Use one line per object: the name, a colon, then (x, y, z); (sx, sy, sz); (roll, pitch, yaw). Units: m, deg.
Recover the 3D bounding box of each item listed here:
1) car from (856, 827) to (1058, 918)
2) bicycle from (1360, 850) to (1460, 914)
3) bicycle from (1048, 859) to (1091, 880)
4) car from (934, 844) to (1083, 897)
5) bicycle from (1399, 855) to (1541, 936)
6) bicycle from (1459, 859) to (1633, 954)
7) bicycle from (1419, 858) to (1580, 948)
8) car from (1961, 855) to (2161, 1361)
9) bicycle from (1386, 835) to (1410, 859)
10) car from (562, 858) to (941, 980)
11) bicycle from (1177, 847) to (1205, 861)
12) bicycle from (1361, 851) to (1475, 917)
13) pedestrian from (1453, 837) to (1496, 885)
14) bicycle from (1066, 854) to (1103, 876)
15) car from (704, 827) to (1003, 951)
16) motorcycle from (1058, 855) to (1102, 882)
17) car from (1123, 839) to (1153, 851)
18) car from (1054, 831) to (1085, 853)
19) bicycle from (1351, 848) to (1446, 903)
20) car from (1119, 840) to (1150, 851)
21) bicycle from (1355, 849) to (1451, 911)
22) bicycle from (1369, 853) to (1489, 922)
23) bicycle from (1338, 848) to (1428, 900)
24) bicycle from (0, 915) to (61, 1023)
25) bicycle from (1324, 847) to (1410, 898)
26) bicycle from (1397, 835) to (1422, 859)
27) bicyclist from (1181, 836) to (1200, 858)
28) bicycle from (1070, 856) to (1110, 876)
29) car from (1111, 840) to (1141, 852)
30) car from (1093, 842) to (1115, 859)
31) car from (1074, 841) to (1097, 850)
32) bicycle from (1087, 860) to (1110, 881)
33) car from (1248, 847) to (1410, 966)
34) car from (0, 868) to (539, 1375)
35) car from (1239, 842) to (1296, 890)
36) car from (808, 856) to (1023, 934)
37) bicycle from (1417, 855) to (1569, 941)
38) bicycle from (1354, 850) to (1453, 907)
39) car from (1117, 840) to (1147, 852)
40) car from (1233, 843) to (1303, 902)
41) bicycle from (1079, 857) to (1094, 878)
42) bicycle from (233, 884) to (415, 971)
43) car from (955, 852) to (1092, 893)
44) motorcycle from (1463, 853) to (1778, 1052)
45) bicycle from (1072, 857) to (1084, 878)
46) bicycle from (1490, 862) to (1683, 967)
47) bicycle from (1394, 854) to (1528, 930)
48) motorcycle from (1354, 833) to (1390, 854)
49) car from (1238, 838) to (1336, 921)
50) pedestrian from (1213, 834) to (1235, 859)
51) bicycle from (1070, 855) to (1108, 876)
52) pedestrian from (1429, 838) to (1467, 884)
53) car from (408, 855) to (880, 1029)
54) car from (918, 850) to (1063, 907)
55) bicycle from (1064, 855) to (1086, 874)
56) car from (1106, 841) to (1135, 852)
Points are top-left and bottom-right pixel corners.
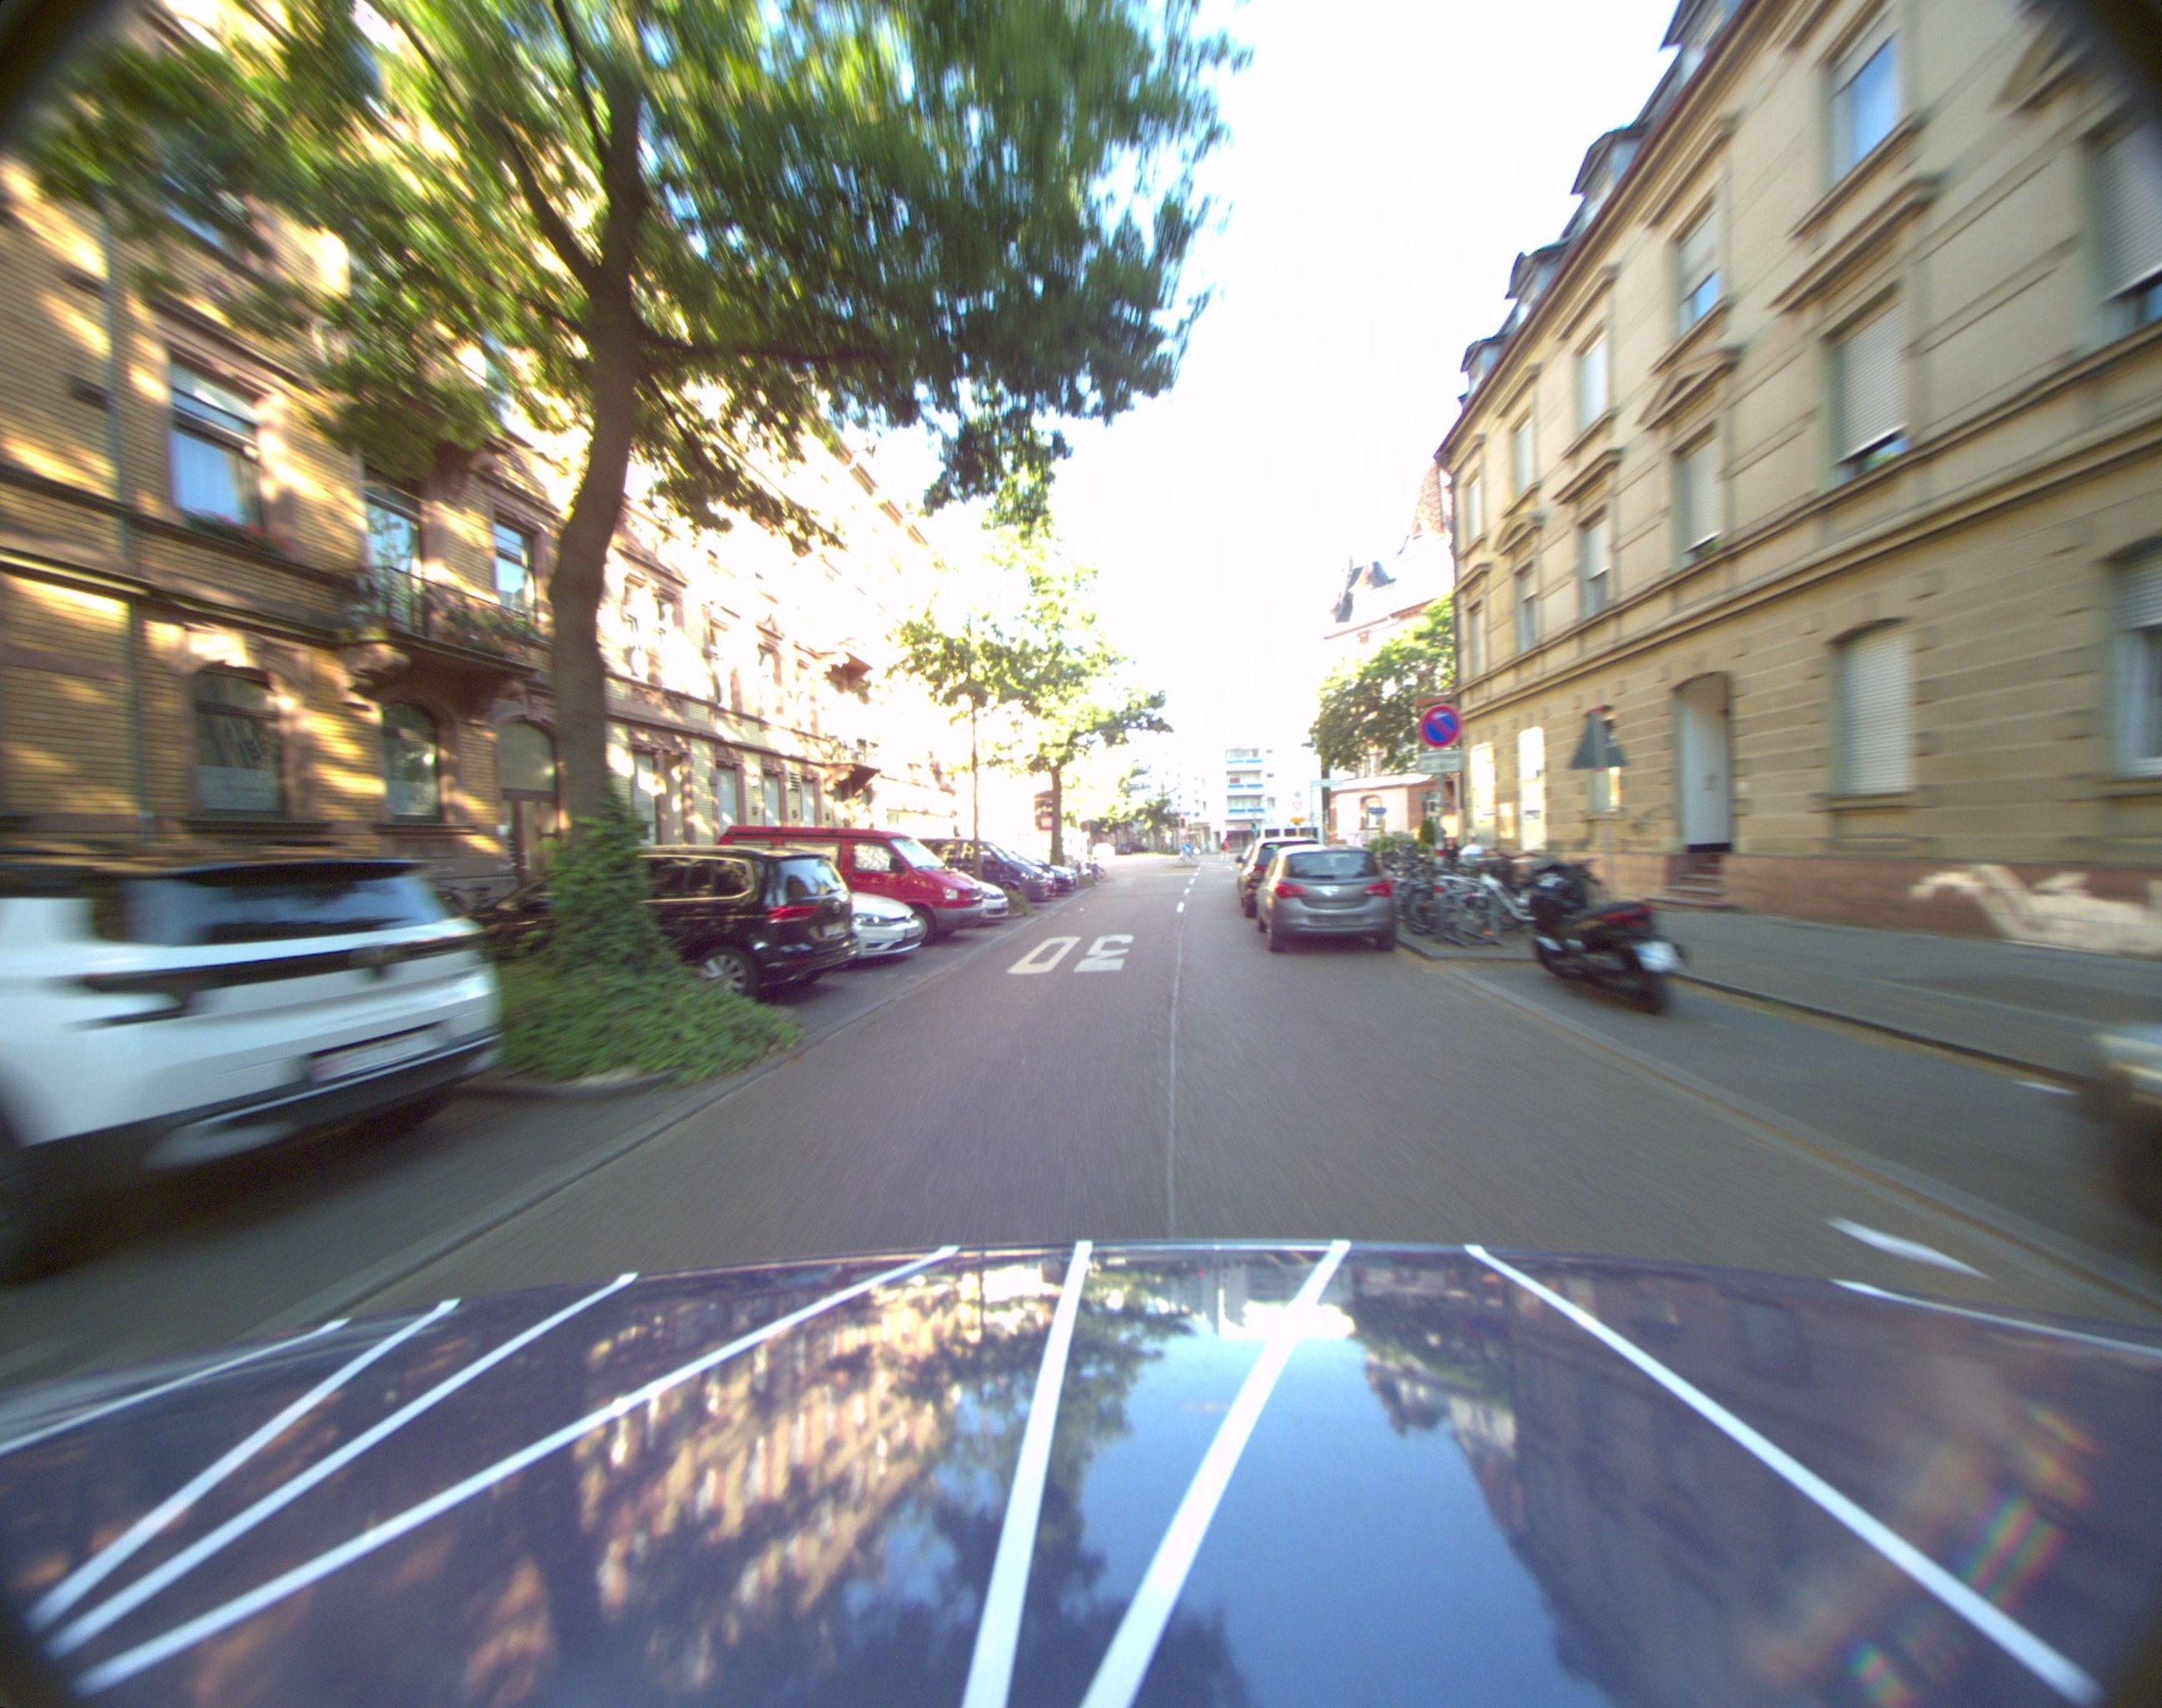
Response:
car: (-3.331, 0.484, 20.951); (5.031, 2.202, 1.993); (-2, 1, 7)
bicycle: (6.604, 0.535, 15.253); (1.874, 1.122, 0.528); (-4, 2, -16)
bicycle: (-0.529, 0.700, 34.978); (1.934, 0.922, 0.354); (0, 2, 6)
car: (-2.460, 0.548, 26.071); (4.693, 1.669, 1.853); (0, 2, 16)
bicycle: (6.072, 0.647, 11.922); (1.871, 1.122, 0.528); (-4, 2, 7)
bicycle: (6.129, 0.689, 10.078); (1.871, 1.122, 0.528); (-4, 2, 7)
bicycle: (5.834, 0.680, 10.656); (1.871, 1.122, 0.528); (-4, 2, 7)
car: (3.951, 0.760, 0.702); (1.762, 1.492, 4.061); (-4, 0, 6)
bicycle: (16.898, -0.390, 40.582); (0.547, 1.189, 2.960); (-2, 1, 11)
car: (-4.602, 0.846, 10.959); (4.683, 1.506, 1.880); (0, 2, 8)
bicycle: (8.065, -0.013, 55.593); (1.881, 0.907, 0.633); (-4, 1, -23)
bicycle: (6.423, 0.573, 14.554); (1.871, 1.122, 0.528); (-4, 2, 7)
pedestrian: (10.331, 0.167, 19.974); (0.727, 1.207, 0.757); (-2, 1, 5)
bicycle: (0.177, 0.547, 38.958); (1.939, 1.087, 0.424); (-1, 3, -30)
car: (-3.915, 0.563, 13.518); (4.684, 2.022, 1.879); (0, 2, 7)
motorcycle: (-0.030, 0.651, 34.353); (1.901, 1.227, 0.686); (0, 2, 7)
car: (8.446, -1.350, 112.161); (4.001, 1.576, 1.997); (-3, 1, -13)
car: (-1.896, -1.801, 118.025); (3.326, 3.161, 8.074); (-3, 1, -11)
bicycle: (7.236, 0.495, 17.382); (1.871, 1.122, 0.529); (-4, 2, 9)
car: (8.079, -1.281, 114.580); (4.306, 1.576, 1.997); (-3, 1, -13)
bicycle: (6.711, 0.526, 15.853); (1.874, 1.122, 0.528); (-4, 2, -16)
bicycle: (6.345, 0.603, 13.914); (1.871, 1.122, 0.528); (-4, 2, 7)
bicycle: (7.141, 0.470, 18.028); (1.871, 1.122, 0.529); (-4, 2, 9)
bicycle: (-10.232, 1.091, 6.478); (0.405, 0.957, 1.868); (1, 1, 7)
bicycle: (7.023, 0.449, 18.722); (1.871, 1.122, 0.529); (-4, 2, 9)
bicycle: (17.483, -0.402, 40.475); (0.547, 1.189, 2.960); (-2, 1, 11)
bicyclist: (8.001, -0.528, 55.574); (1.082, 1.544, 0.633); (-5, 1, -23)
bicycle: (0.442, 0.588, 37.604); (1.937, 0.982, 0.496); (0, 2, -15)
car: (7.062, -1.273, 119.467); (4.306, 1.576, 1.997); (-3, 1, -13)
car: (2.450, -0.431, 81.899); (1.999, 1.740, 3.998); (-2, 1, -2)
car: (0.963, -1.818, 158.078); (4.305, 1.576, 1.998); (-3, 1, -12)
bicycle: (0.830, 0.765, 35.832); (0.353, 0.922, 1.416); (2, 3, 37)
car: (3.631, 0.677, 11.823); (1.762, 1.492, 4.062); (-1, 1, 9)
car: (-5.181, 0.922, 3.584); (4.019, 1.618, 1.805); (0, 2, 5)
car: (6.493, 0.356, 26.740); (1.761, 1.479, 4.141); (-1, 1, 12)
car: (-3.418, 0.822, 16.189); (4.062, 1.502, 1.879); (0, 2, 6)
bicycle: (6.049, 0.645, 11.217); (1.871, 1.122, 0.528); (-4, 2, 7)
bicycle: (7.071, 0.527, 16.722); (1.871, 1.122, 0.529); (-4, 2, 9)
car: (7.862, -1.208, 117.163); (4.306, 1.576, 1.997); (-3, 1, -13)
car: (5.357, 0.461, 22.077); (1.761, 1.443, 4.553); (-1, 1, 12)
bicycle: (0.251, 0.647, 36.216); (0.354, 0.922, 1.526); (1, 2, 14)
bicycle: (-10.075, 0.932, 10.223); (0.405, 0.957, 1.868); (1, 1, 7)
car: (-2.102, 0.674, 28.461); (4.794, 1.405, 1.852); (-1, 2, 9)
motorcycle: (4.534, 0.716, 6.768); (1.068, 1.362, 2.607); (-3, 1, 5)
bicycle: (-0.127, 0.655, 36.389); (0.354, 0.922, 1.526); (1, 2, 8)
bicycle: (6.088, 0.726, 9.213); (1.871, 1.122, 0.528); (-4, 2, 7)
bicycle: (6.261, 0.626, 12.577); (1.871, 1.122, 0.528); (-4, 2, 7)
motorcycle: (18.760, -0.669, 49.004); (2.112, 1.258, 0.842); (-3, 1, -18)
car: (4.474, 0.468, 17.074); (1.761, 1.591, 4.553); (-1, 1, 11)
pedestrian: (10.192, -0.535, 54.151); (1.175, 1.670, 1.006); (-3, 2, -22)
bicycle: (0.434, 0.579, 38.544); (1.939, 1.046, 0.501); (-1, 3, -30)
pedestrian: (10.291, 0.179, 21.320); (0.727, 1.252, 0.757); (-2, 1, 5)
car: (-4.596, 0.855, 8.371); (4.195, 1.618, 1.838); (0, 2, 7)
car: (-2.760, 0.749, 23.719); (4.114, 1.526, 1.725); (-2, 1, 7)
bicycle: (-0.343, 0.568, 41.814); (1.000, 1.021, 0.737); (-3, 1, -15)
car: (6.474, -1.262, 125.167); (4.305, 1.576, 1.998); (-3, 1, -12)
